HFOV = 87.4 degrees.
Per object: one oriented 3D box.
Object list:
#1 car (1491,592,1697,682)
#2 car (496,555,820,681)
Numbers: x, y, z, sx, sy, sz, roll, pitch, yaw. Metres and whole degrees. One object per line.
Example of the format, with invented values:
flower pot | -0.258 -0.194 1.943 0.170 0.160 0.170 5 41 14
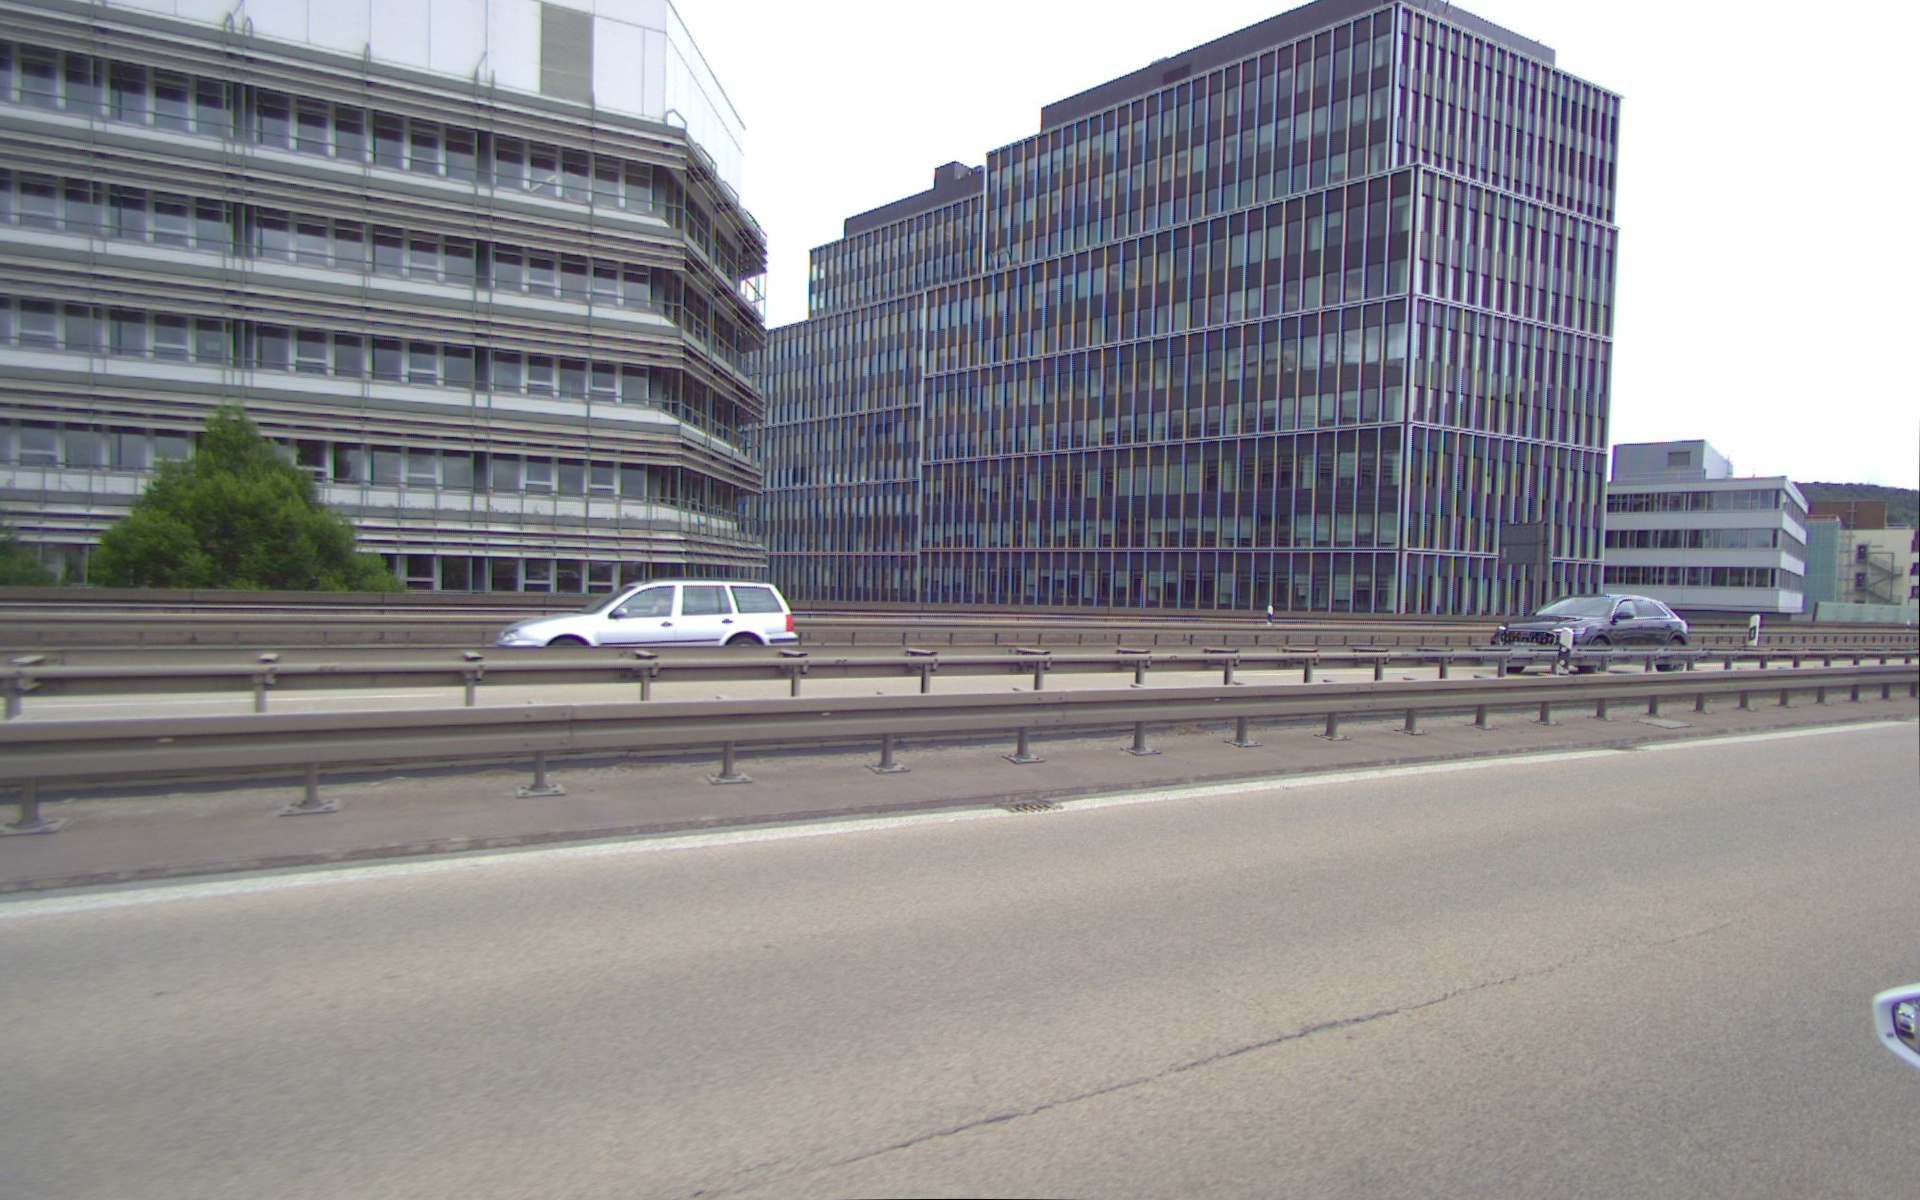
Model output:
car | 13.388 0.768 21.175 4.282 1.672 1.754 2 2 -29
car | -4.471 0.246 15.056 4.395 1.672 1.675 1 1 -30
